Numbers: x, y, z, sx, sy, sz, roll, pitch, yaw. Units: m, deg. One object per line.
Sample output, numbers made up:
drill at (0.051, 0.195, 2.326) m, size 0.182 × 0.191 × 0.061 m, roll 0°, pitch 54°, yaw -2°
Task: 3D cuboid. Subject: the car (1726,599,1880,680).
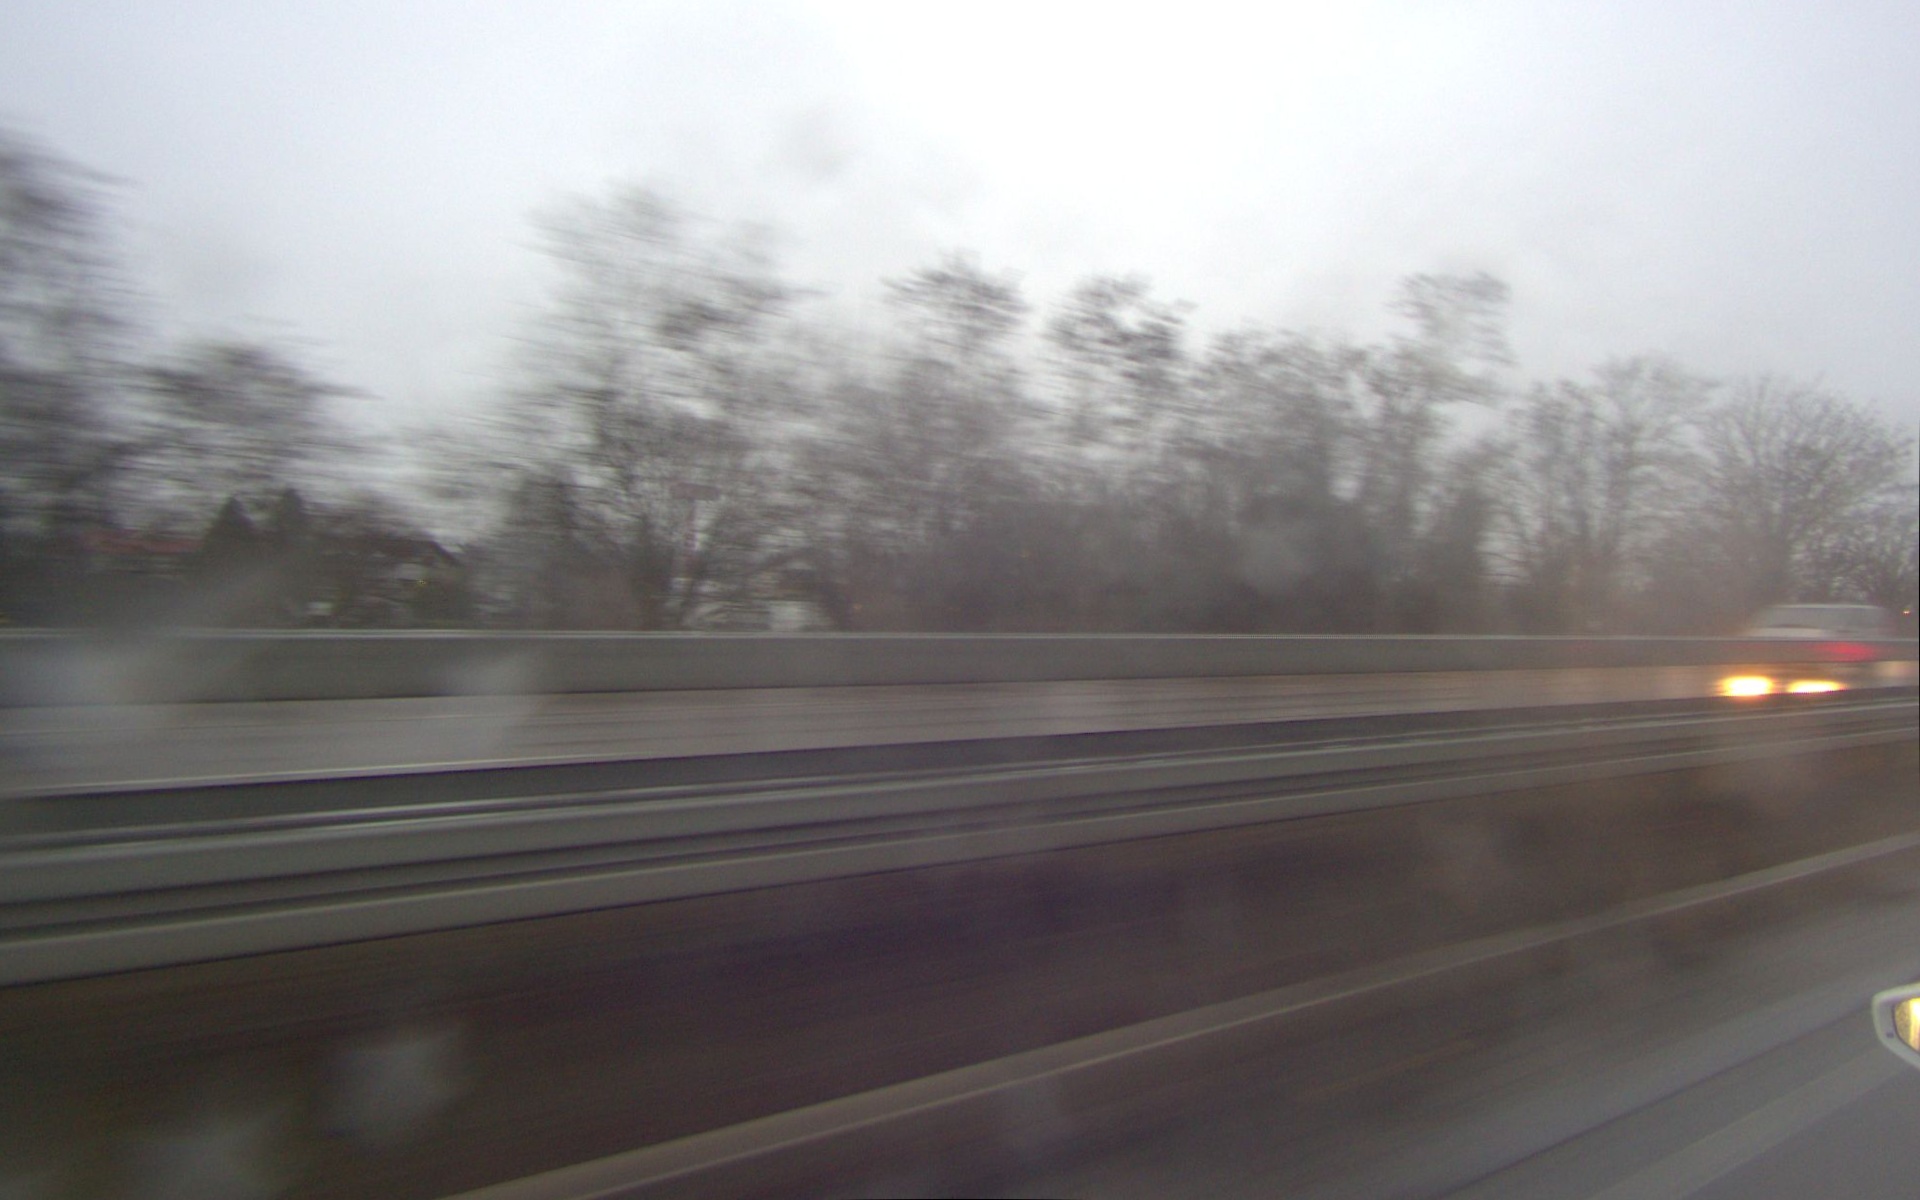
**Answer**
car at (22.570, 1.055, 26.854) m, size 4.489 × 1.999 × 1.923 m, roll 2°, pitch -1°, yaw -33°
